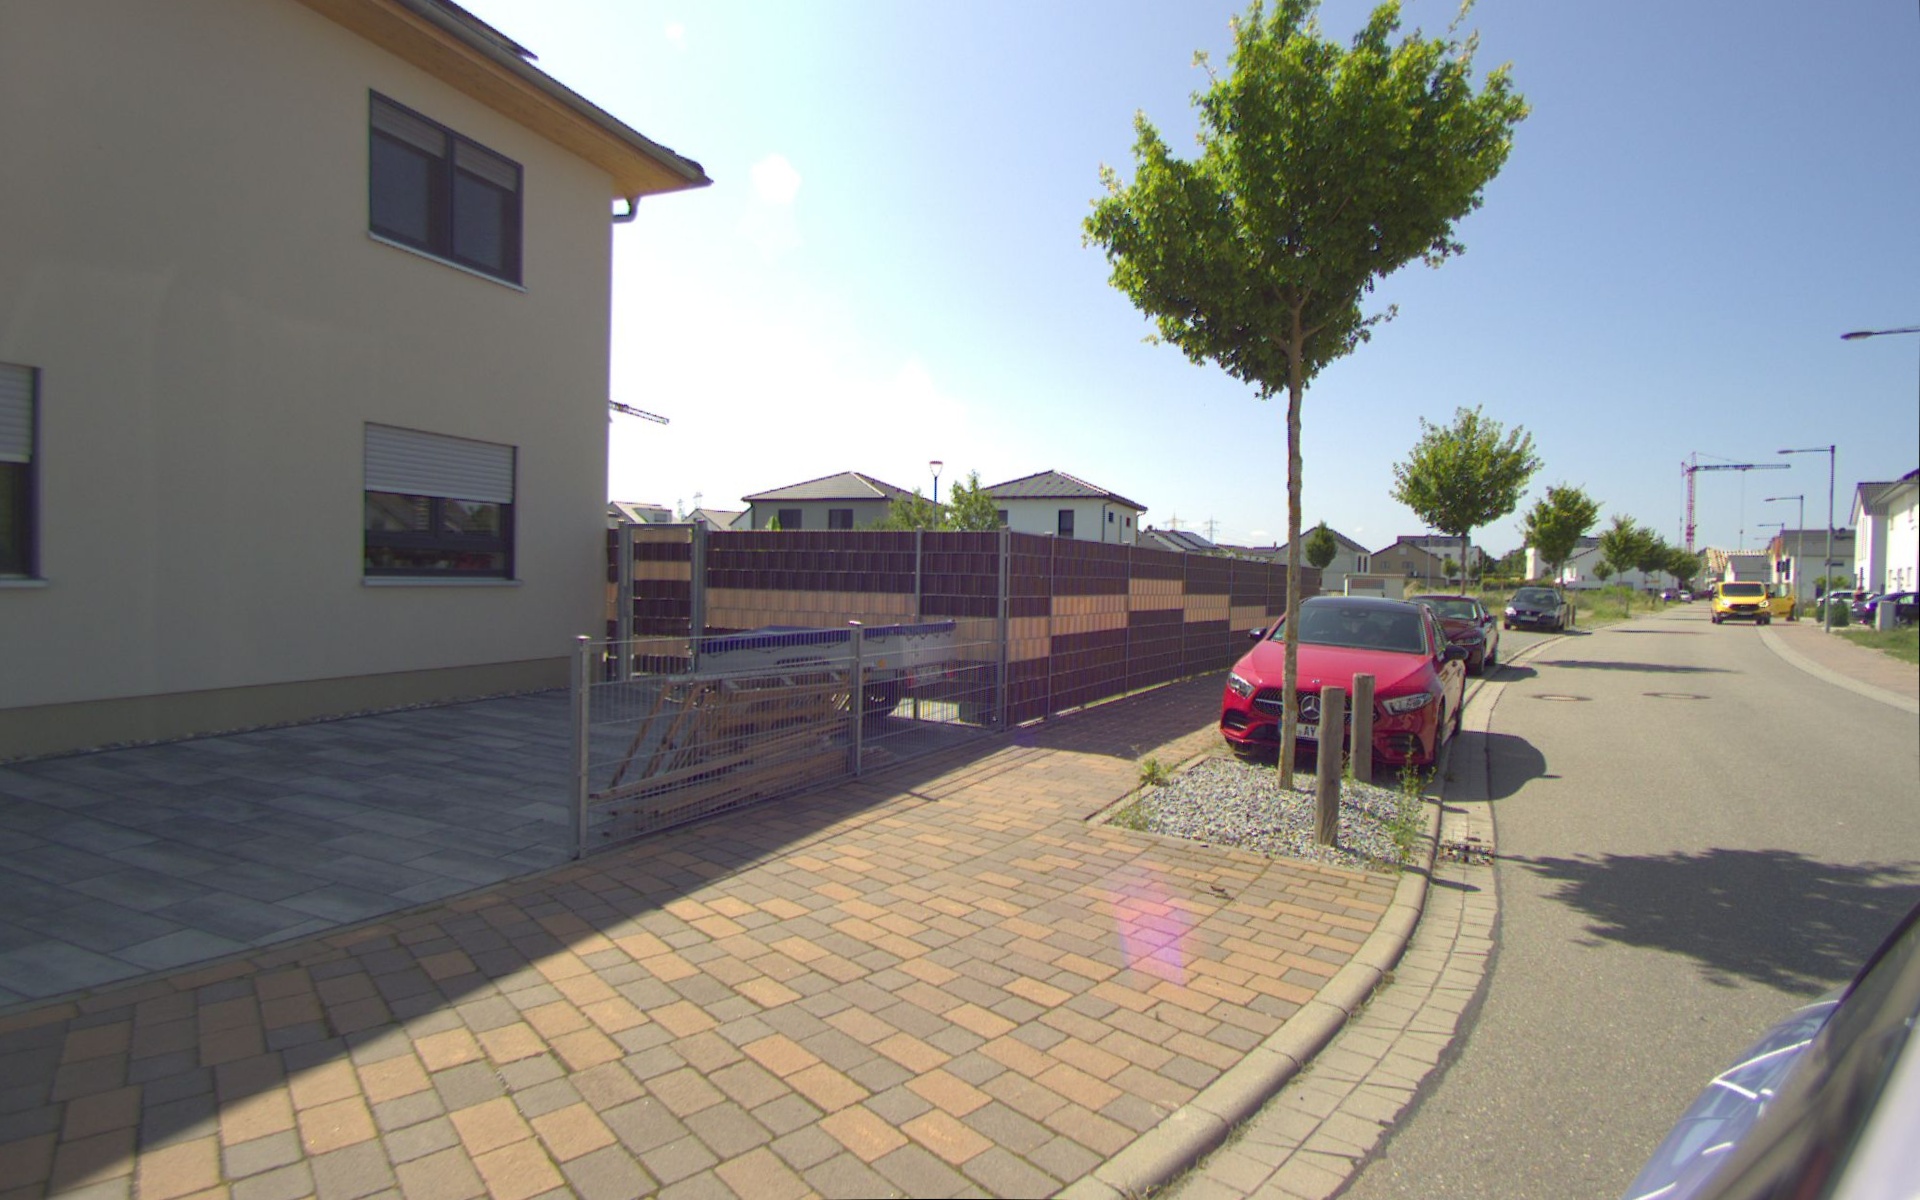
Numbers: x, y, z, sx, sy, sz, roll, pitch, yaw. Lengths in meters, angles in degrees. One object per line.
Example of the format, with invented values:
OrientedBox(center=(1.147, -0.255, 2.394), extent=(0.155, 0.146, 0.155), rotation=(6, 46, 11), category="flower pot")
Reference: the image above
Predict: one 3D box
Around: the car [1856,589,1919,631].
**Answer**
OrientedBox(center=(34.592, 0.345, 35.502), extent=(4.362, 1.470, 1.734), rotation=(0, 1, 26), category="car")

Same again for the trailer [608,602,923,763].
OrientedBox(center=(-1.557, 0.587, 8.146), extent=(2.221, 0.971, 1.146), rotation=(4, 2, 25), category="trailer")

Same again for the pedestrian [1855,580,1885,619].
OrientedBox(center=(40.601, -0.027, 45.145), extent=(0.528, 1.707, 0.931), rotation=(0, -1, -42), category="pedestrian")

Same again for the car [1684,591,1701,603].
OrientedBox(center=(87.300, -0.369, 120.632), extent=(1.486, 1.414, 3.228), rotation=(1, 1, 38), category="car")

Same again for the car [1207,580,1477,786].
OrientedBox(center=(3.914, 0.571, 9.851), extent=(1.754, 1.455, 4.473), rotation=(3, 2, 29), category="car")

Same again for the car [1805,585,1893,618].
OrientedBox(center=(54.820, 0.070, 62.504), extent=(3.981, 1.875, 1.972), rotation=(2, 1, 40), category="car")

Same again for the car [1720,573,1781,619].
OrientedBox(center=(36.589, -0.211, 46.953), extent=(1.877, 2.039, 4.783), rotation=(0, 1, 34), category="car")

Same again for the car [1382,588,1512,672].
OrientedBox(center=(9.603, 0.488, 19.778), extent=(1.747, 1.380, 4.523), rotation=(2, 2, 32), category="car")

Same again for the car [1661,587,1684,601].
OrientedBox(center=(75.289, -0.645, 106.907), extent=(1.761, 1.510, 3.946), rotation=(2, 1, 38), category="car")

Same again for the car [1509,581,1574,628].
OrientedBox(center=(20.218, 0.120, 35.137), extent=(1.594, 1.493, 3.629), rotation=(4, 3, 35), category="car")
